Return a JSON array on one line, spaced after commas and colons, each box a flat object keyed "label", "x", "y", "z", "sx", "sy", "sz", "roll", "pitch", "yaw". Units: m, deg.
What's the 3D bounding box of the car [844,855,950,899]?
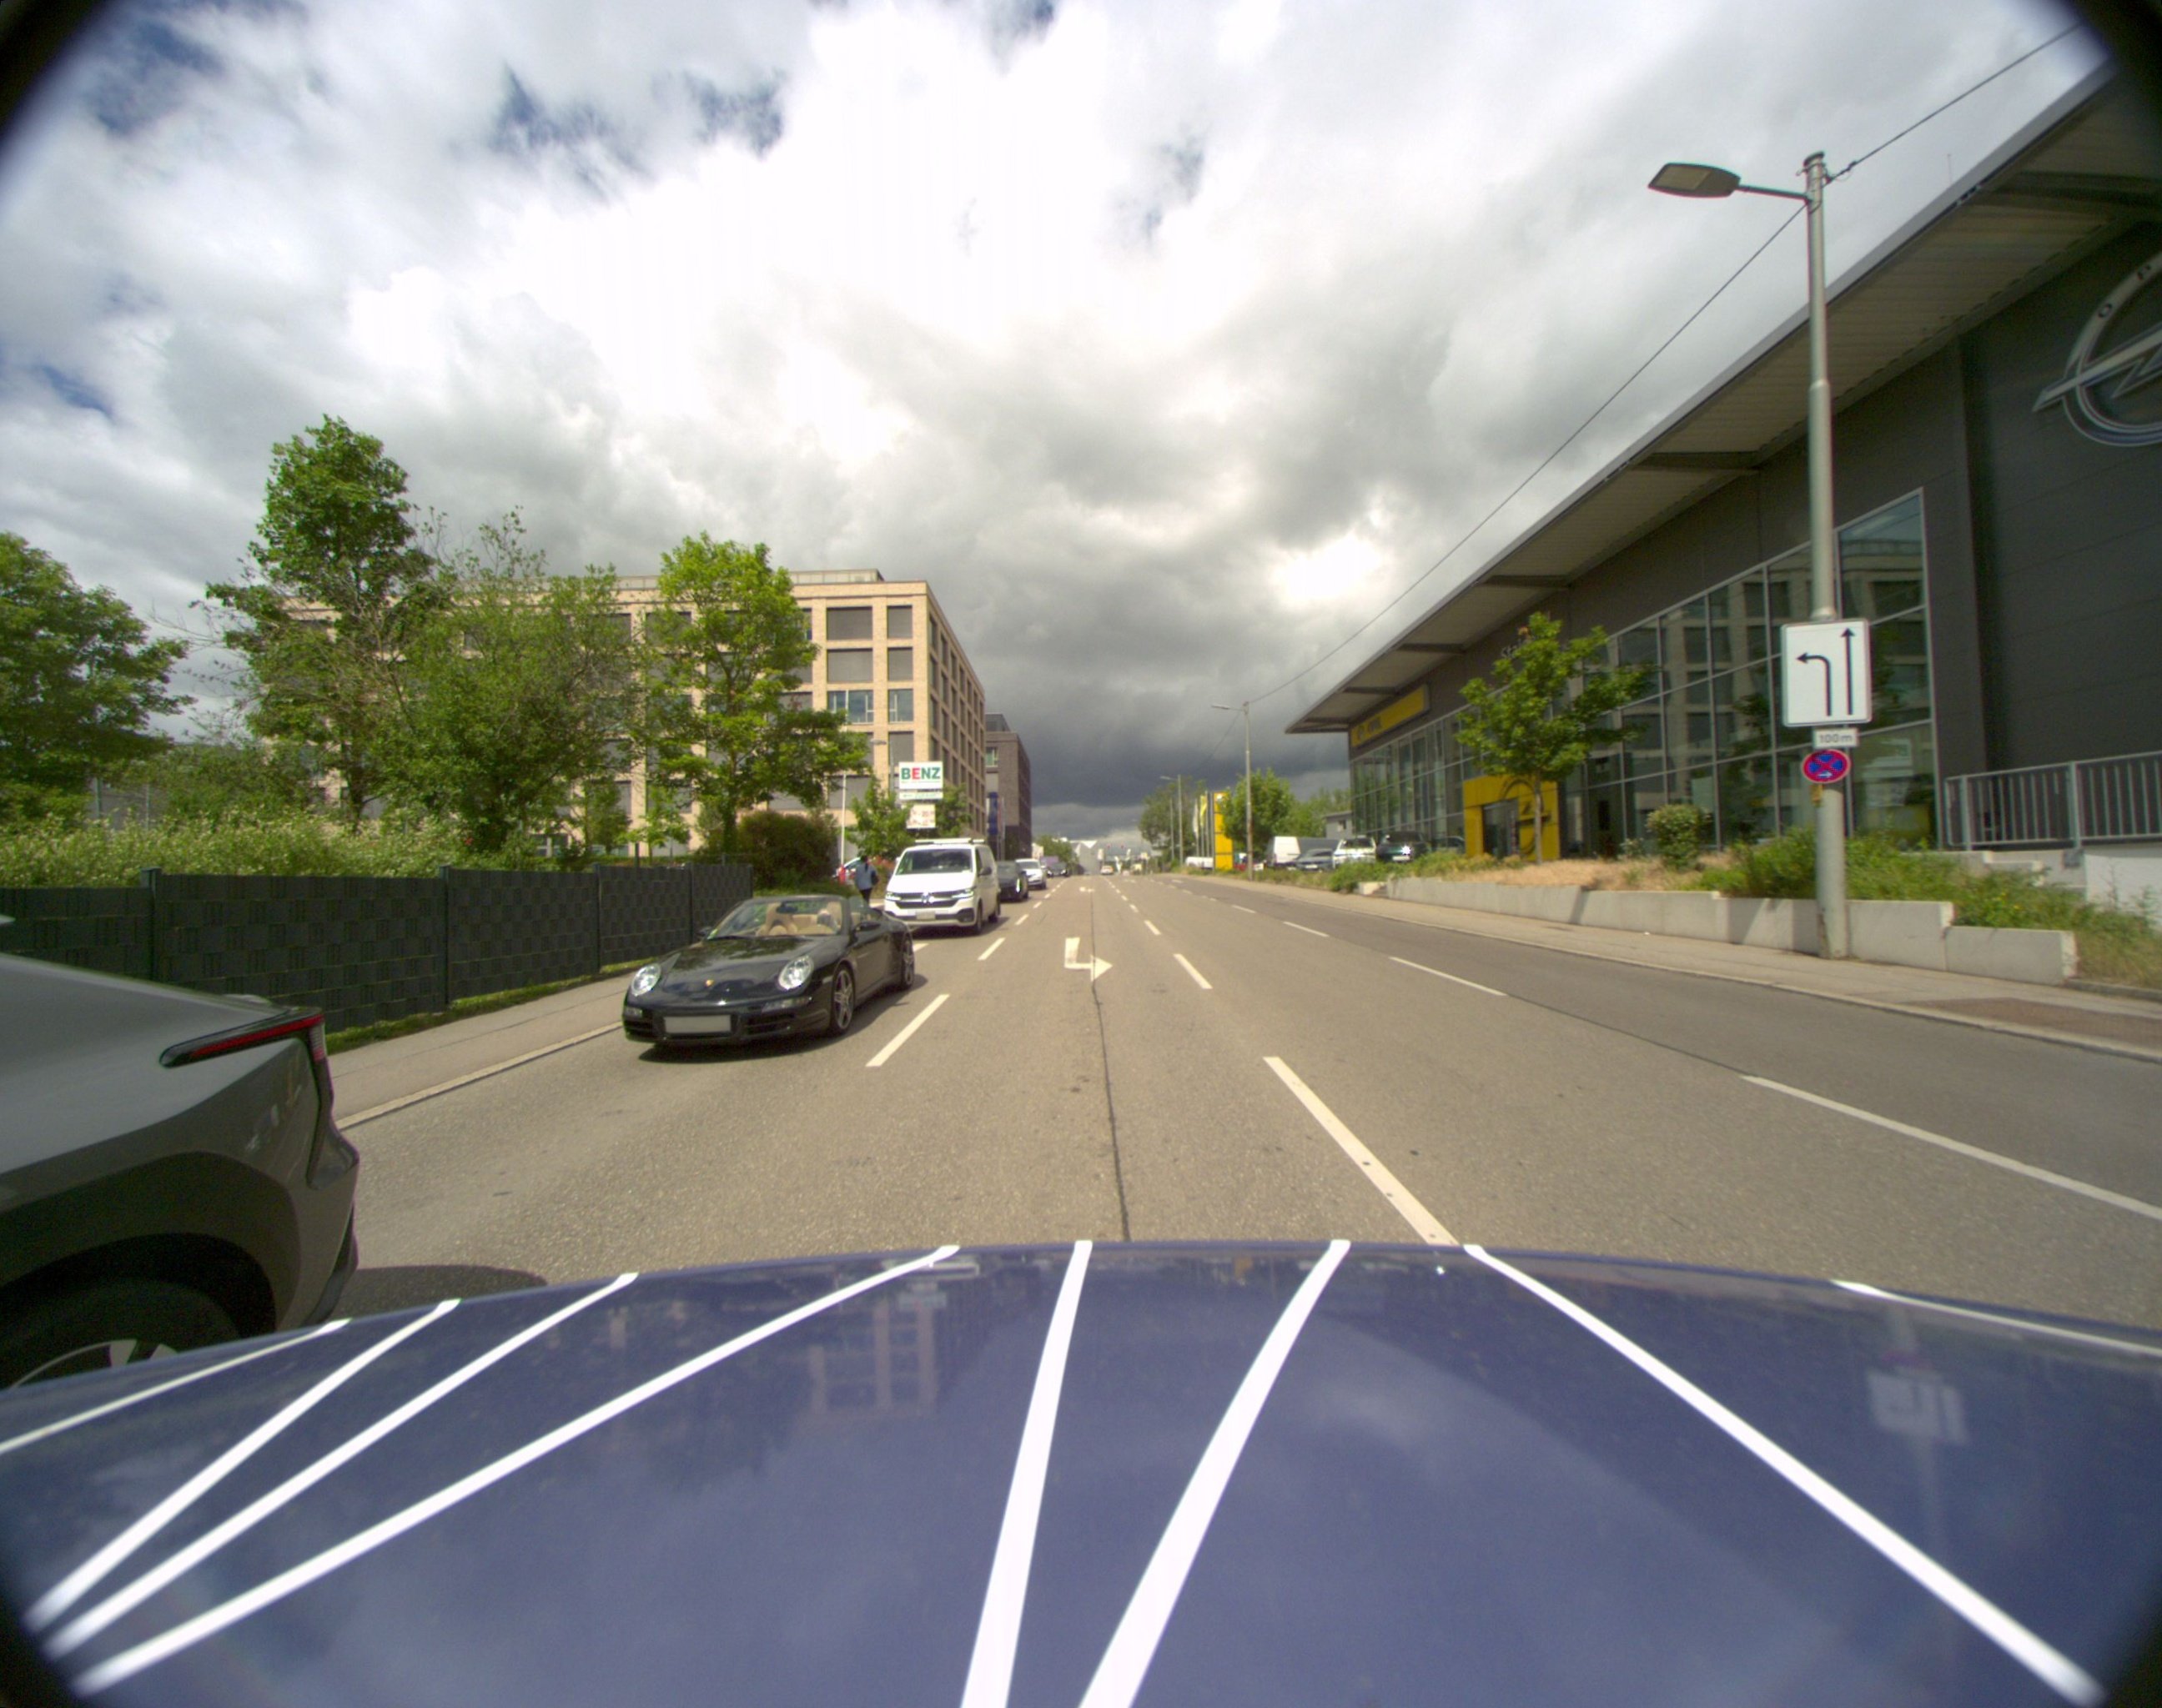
[{"label": "car", "x": -7.642, "y": 0.940, "z": 31.781, "sx": 3.998, "sy": 1.723, "sz": 1.822, "roll": -1, "pitch": 1, "yaw": -3}]

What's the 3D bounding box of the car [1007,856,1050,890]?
[{"label": "car", "x": -2.603, "y": 0.901, "z": 38.424, "sx": 1.818, "sy": 1.577, "sz": 4.000, "roll": -1, "pitch": 0, "yaw": 1}]

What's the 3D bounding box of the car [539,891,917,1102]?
[{"label": "car", "x": -3.046, "y": 1.154, "z": 7.647, "sx": 1.824, "sy": 1.286, "sz": 4.038, "roll": -2, "pitch": 0, "yaw": 1}]

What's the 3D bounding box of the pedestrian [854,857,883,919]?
[{"label": "pedestrian", "x": -5.726, "y": 0.919, "z": 20.498, "sx": 0.632, "sy": 1.648, "sz": 0.443, "roll": -1, "pitch": 1, "yaw": -1}]

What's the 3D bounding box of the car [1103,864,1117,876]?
[{"label": "car", "x": 4.476, "y": 2.487, "z": 116.939, "sx": 1.998, "sy": 1.731, "sz": 4.547, "roll": -2, "pitch": 0, "yaw": 1}]

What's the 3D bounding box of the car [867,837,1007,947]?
[{"label": "car", "x": -3.009, "y": 0.729, "z": 17.043, "sx": 2.089, "sy": 2.037, "sz": 4.760, "roll": -2, "pitch": 0, "yaw": 1}]

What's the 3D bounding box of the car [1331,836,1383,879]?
[{"label": "car", "x": 12.158, "y": 0.134, "z": 33.438, "sx": 1.995, "sy": 1.783, "sz": 4.006, "roll": -1, "pitch": 0, "yaw": 21}]

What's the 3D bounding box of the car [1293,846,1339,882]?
[{"label": "car", "x": 12.096, "y": 0.474, "z": 39.012, "sx": 1.995, "sy": 1.783, "sz": 4.006, "roll": -1, "pitch": 0, "yaw": 21}]

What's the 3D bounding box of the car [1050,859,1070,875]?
[{"label": "car", "x": -1.884, "y": 1.163, "z": 70.210, "sx": 1.662, "sy": 1.351, "sz": 4.000, "roll": -1, "pitch": 0, "yaw": 1}]

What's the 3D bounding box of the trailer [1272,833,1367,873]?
[{"label": "trailer", "x": 14.440, "y": -0.062, "z": 46.172, "sx": 5.074, "sy": 2.336, "sz": 2.000, "roll": -1, "pitch": 1, "yaw": -1}]

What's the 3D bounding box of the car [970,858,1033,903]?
[{"label": "car", "x": -2.838, "y": 0.916, "z": 27.883, "sx": 1.818, "sy": 1.454, "sz": 4.000, "roll": -1, "pitch": 0, "yaw": 1}]

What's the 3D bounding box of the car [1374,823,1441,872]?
[{"label": "car", "x": 12.326, "y": -0.248, "z": 28.927, "sx": 1.996, "sy": 1.718, "sz": 4.005, "roll": -1, "pitch": 0, "yaw": 18}]
